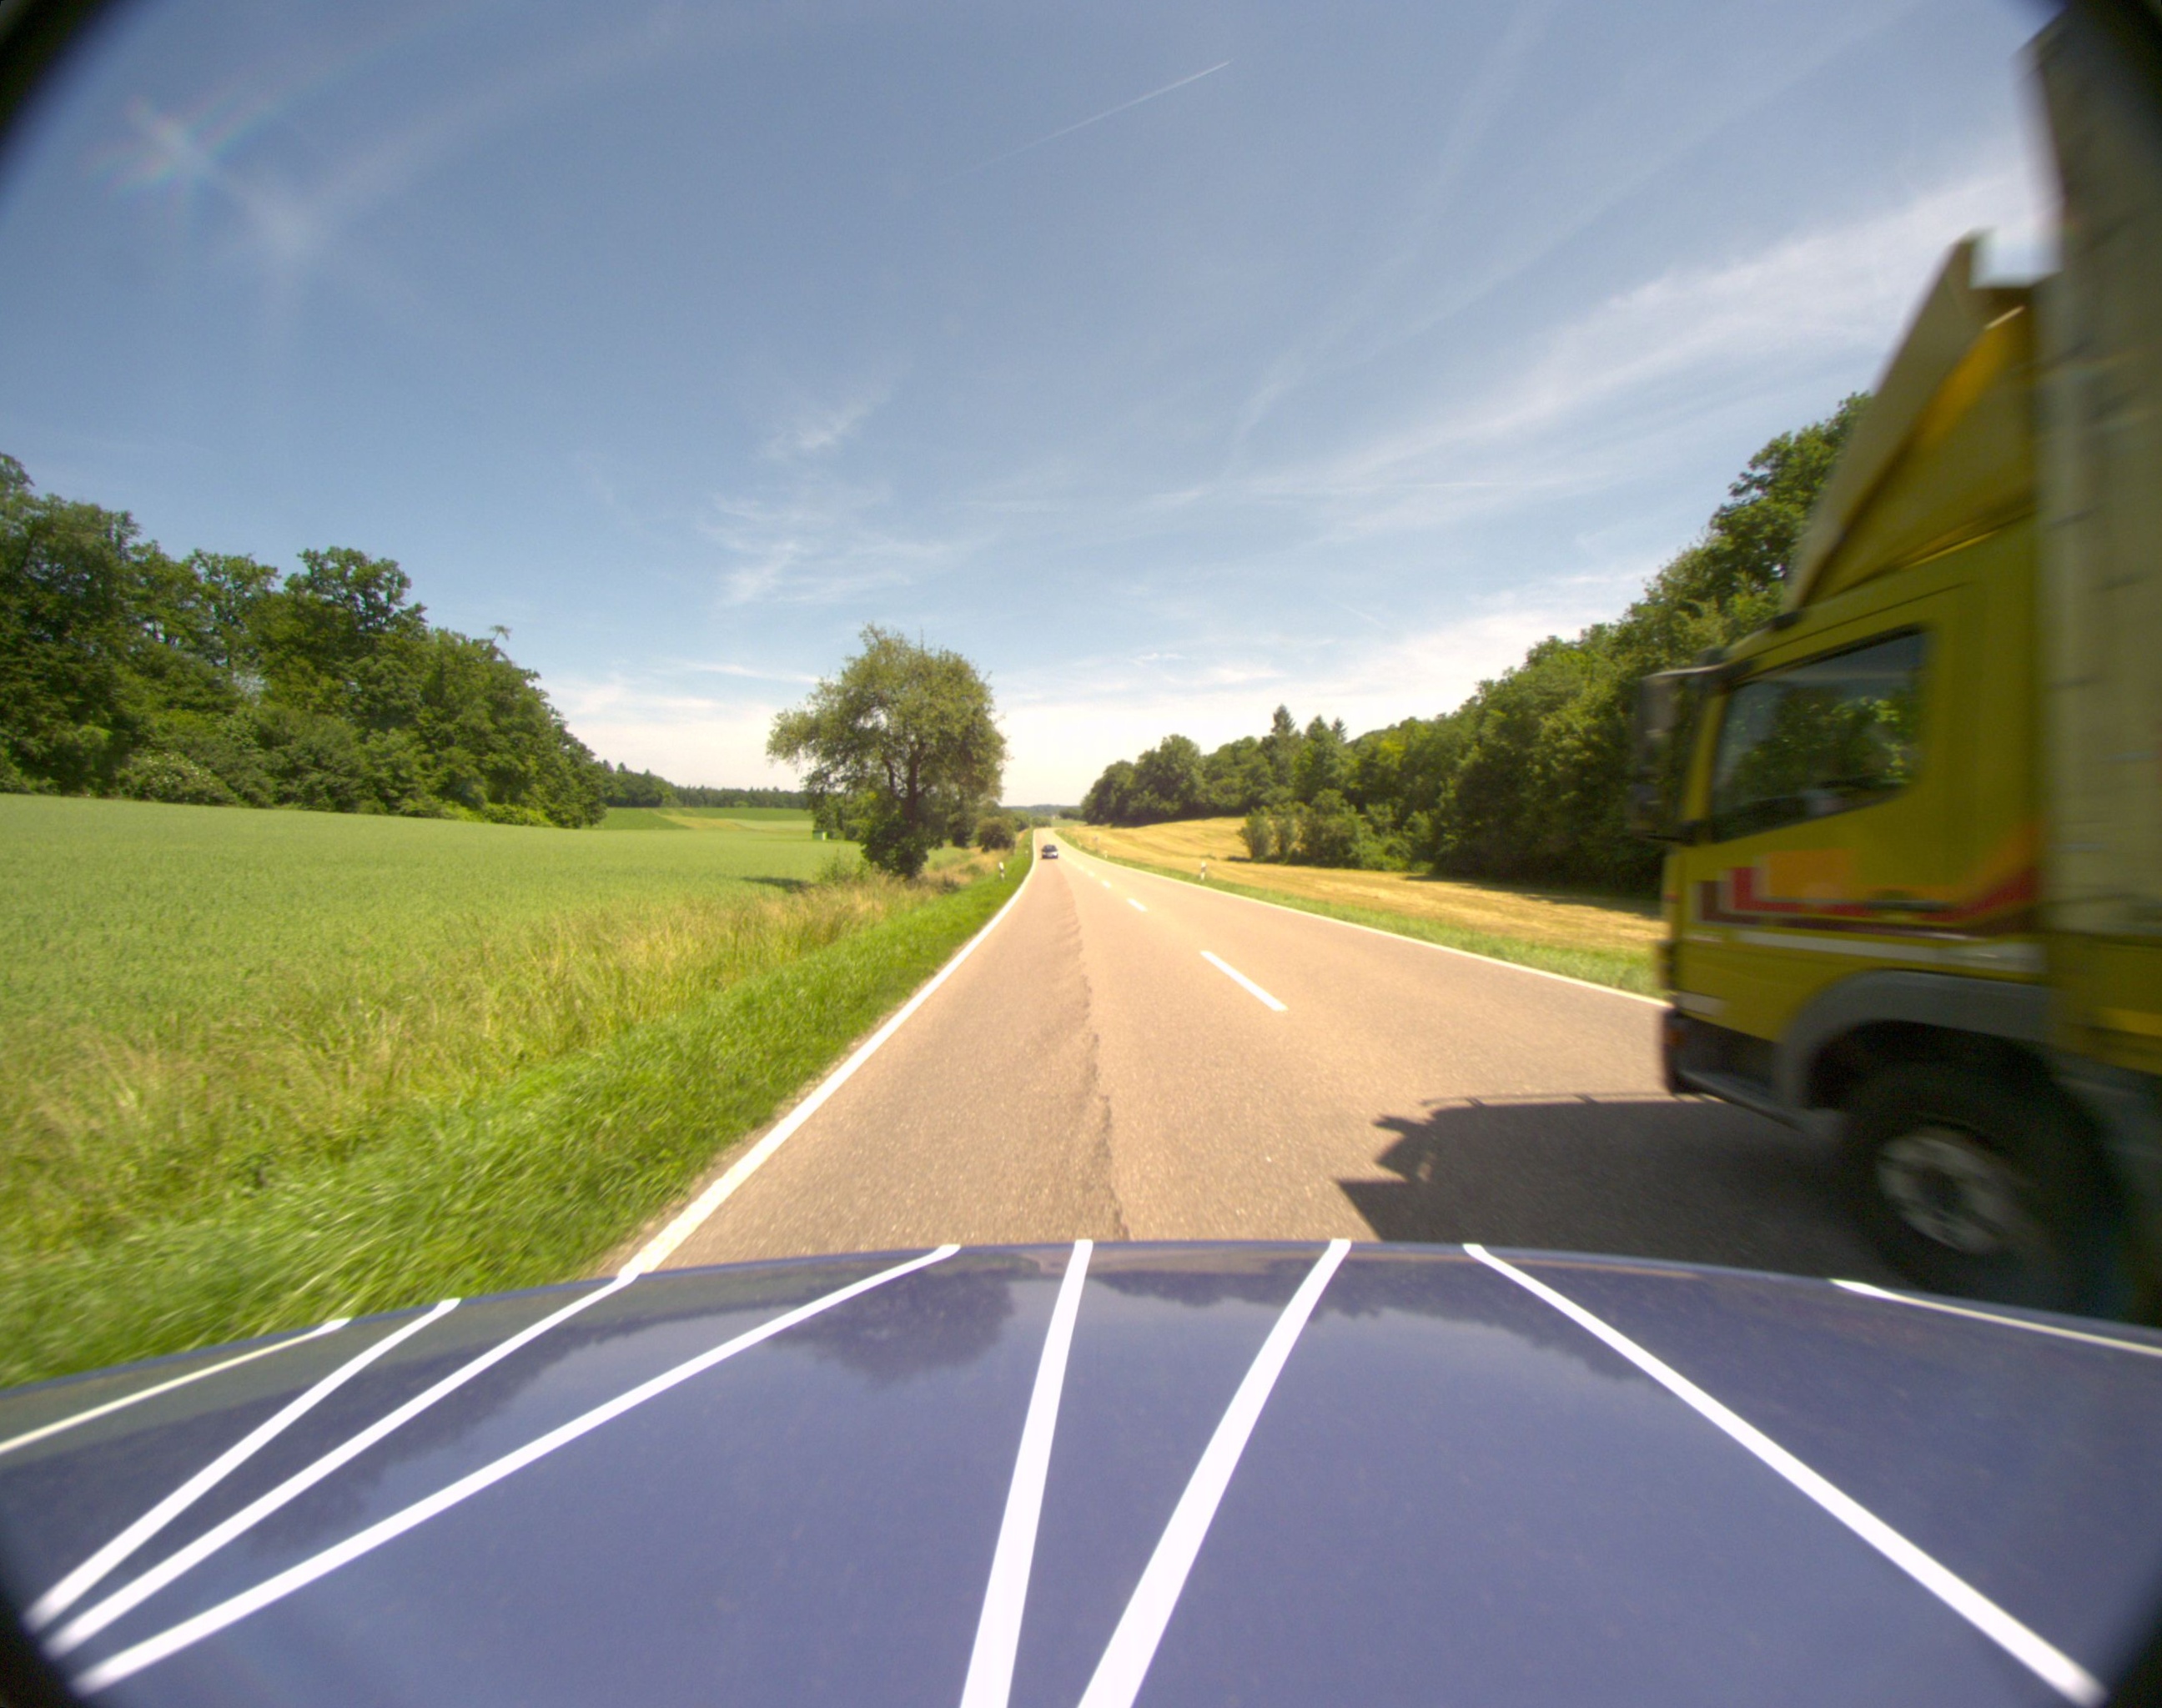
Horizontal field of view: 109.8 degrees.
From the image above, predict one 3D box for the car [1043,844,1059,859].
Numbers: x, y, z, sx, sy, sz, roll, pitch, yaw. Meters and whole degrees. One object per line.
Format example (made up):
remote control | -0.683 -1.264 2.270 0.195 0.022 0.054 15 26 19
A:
car | -3.391 -0.297 85.727 1.816 1.569 4.152 -1 0 -3
